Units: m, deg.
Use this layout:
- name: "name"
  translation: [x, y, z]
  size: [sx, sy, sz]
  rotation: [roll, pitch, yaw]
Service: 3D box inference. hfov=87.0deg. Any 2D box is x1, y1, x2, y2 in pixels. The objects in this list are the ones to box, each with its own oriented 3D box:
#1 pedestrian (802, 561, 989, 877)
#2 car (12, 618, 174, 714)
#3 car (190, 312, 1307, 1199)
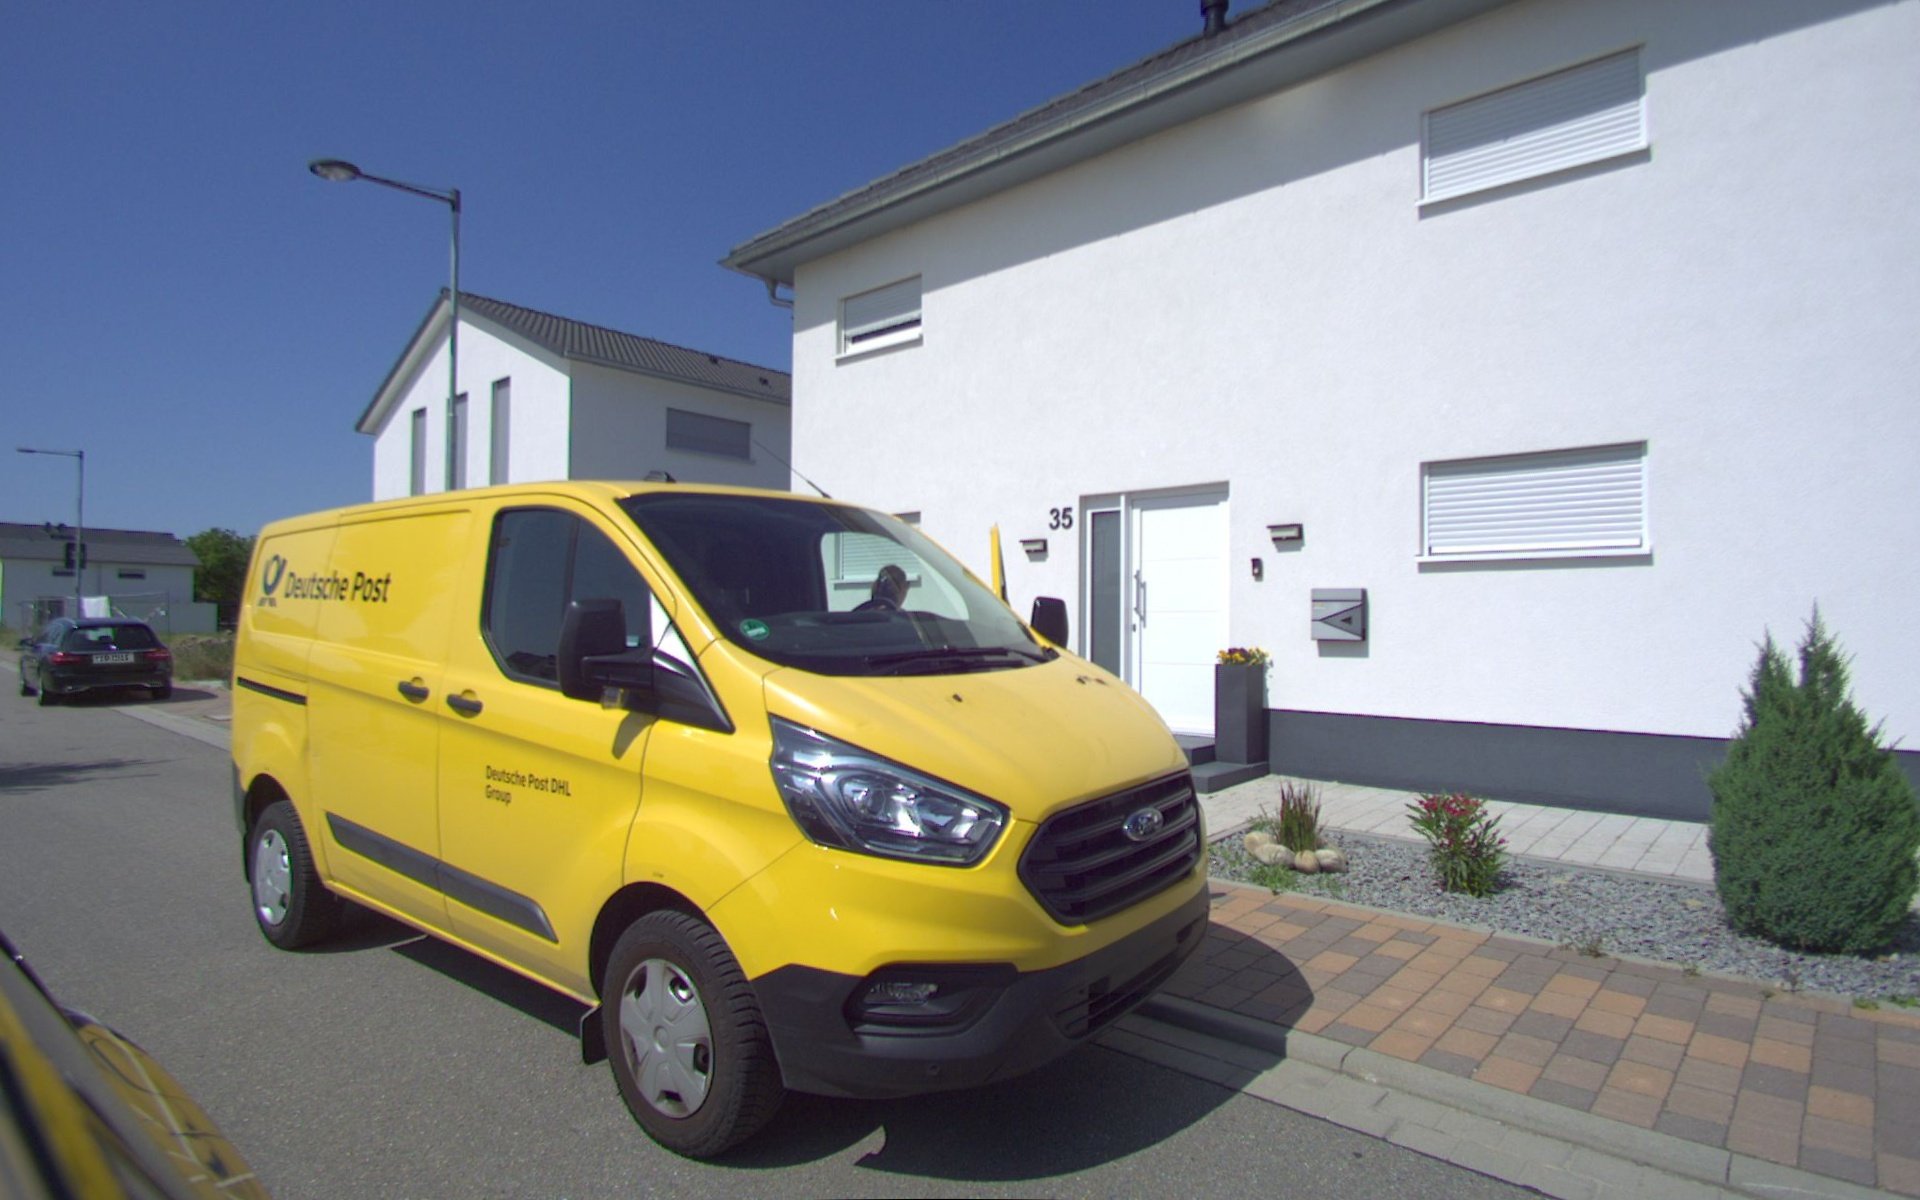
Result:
- name: "pedestrian"
  translation: [-0.371, 0.635, 5.946]
  size: [0.918, 1.698, 0.538]
  rotation: [-1, 0, -39]
- name: "car"
  translation: [-15.557, 1.091, 18.074]
  size: [4.444, 1.484, 1.672]
  rotation: [-1, -1, 42]
- name: "car"
  translation: [-1.292, 0.491, 4.205]
  size: [4.834, 2.029, 1.866]
  rotation: [-1, -1, 38]
